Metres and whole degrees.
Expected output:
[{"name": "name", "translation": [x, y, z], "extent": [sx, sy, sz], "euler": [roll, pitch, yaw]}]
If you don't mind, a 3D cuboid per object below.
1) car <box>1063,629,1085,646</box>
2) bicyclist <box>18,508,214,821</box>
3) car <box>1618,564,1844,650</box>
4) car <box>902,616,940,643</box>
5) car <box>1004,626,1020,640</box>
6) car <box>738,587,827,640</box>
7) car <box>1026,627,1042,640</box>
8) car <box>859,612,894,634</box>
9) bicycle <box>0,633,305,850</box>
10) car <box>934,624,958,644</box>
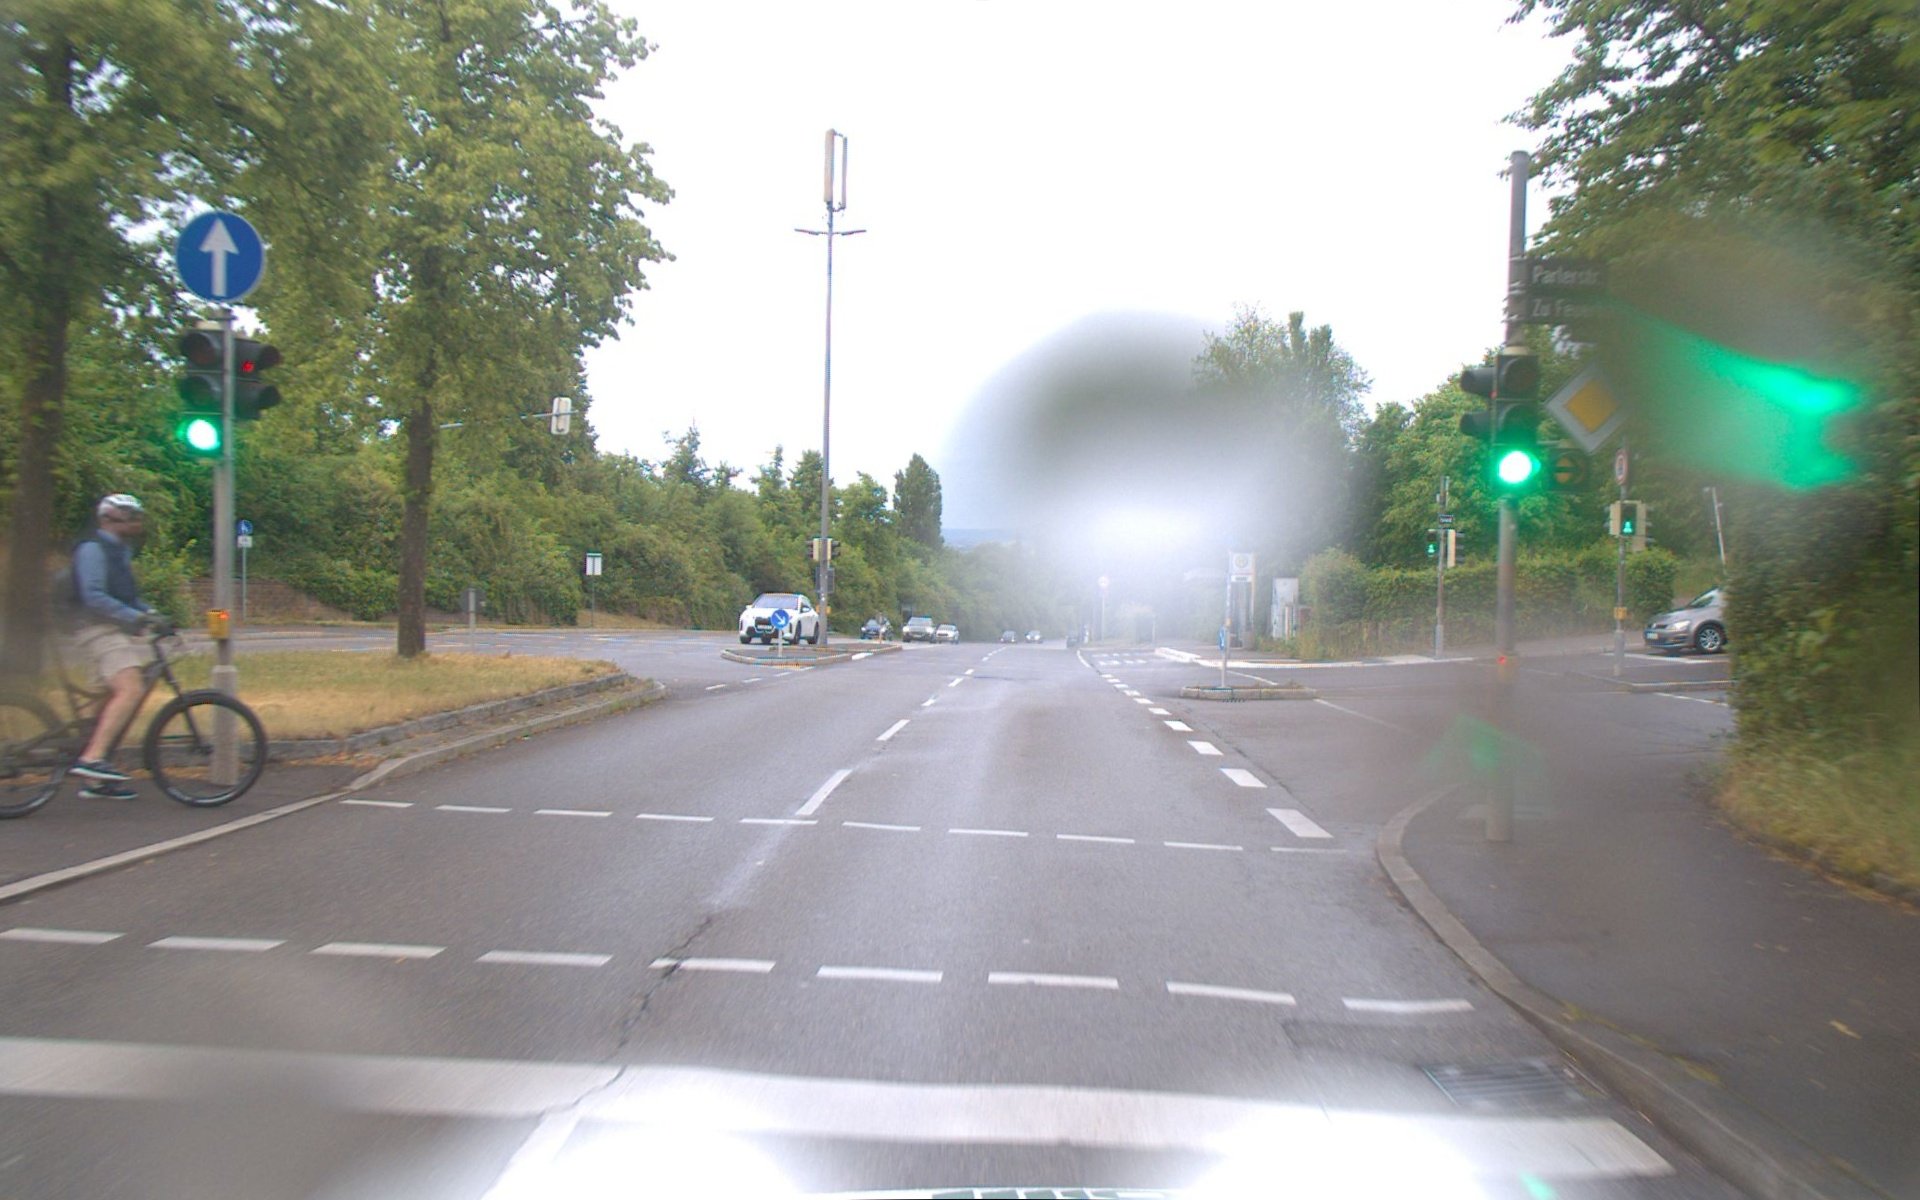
[{"name": "car", "translation": [12.156, 3.958, 176.443], "extent": [1.903, 1.619, 3.931], "euler": [2, 0, 9]}, {"name": "bicyclist", "translation": [-5.078, 0.382, 9.972], "extent": [0.710, 1.783, 0.798], "euler": [-1, -2, 35]}, {"name": "car", "translation": [16.787, 0.150, 36.097], "extent": [3.997, 1.479, 1.888], "euler": [-5, 0, -6]}, {"name": "car", "translation": [-2.272, 1.738, 97.257], "extent": [1.741, 1.497, 4.647], "euler": [2, -1, 4]}, {"name": "car", "translation": [6.158, 3.898, 196.361], "extent": [1.689, 1.592, 3.894], "euler": [4, -1, 4]}, {"name": "car", "translation": [-5.968, 0.456, 56.185], "extent": [1.904, 1.664, 5.008], "euler": [2, 0, 6]}, {"name": "car", "translation": [9.786, 4.425, 219.208], "extent": [1.825, 1.617, 3.895], "euler": [4, -1, 6]}, {"name": "car", "translation": [-5.806, 1.613, 115.291], "extent": [1.781, 1.463, 4.457], "euler": [2, -1, 6]}, {"name": "bicycle", "translation": [-5.054, 0.796, 9.910], "extent": [0.543, 1.163, 2.132], "euler": [2, 0, 35]}, {"name": "car", "translation": [-1.199, 3.012, 146.457], "extent": [1.687, 1.619, 4.003], "euler": [2, 0, 5]}]
